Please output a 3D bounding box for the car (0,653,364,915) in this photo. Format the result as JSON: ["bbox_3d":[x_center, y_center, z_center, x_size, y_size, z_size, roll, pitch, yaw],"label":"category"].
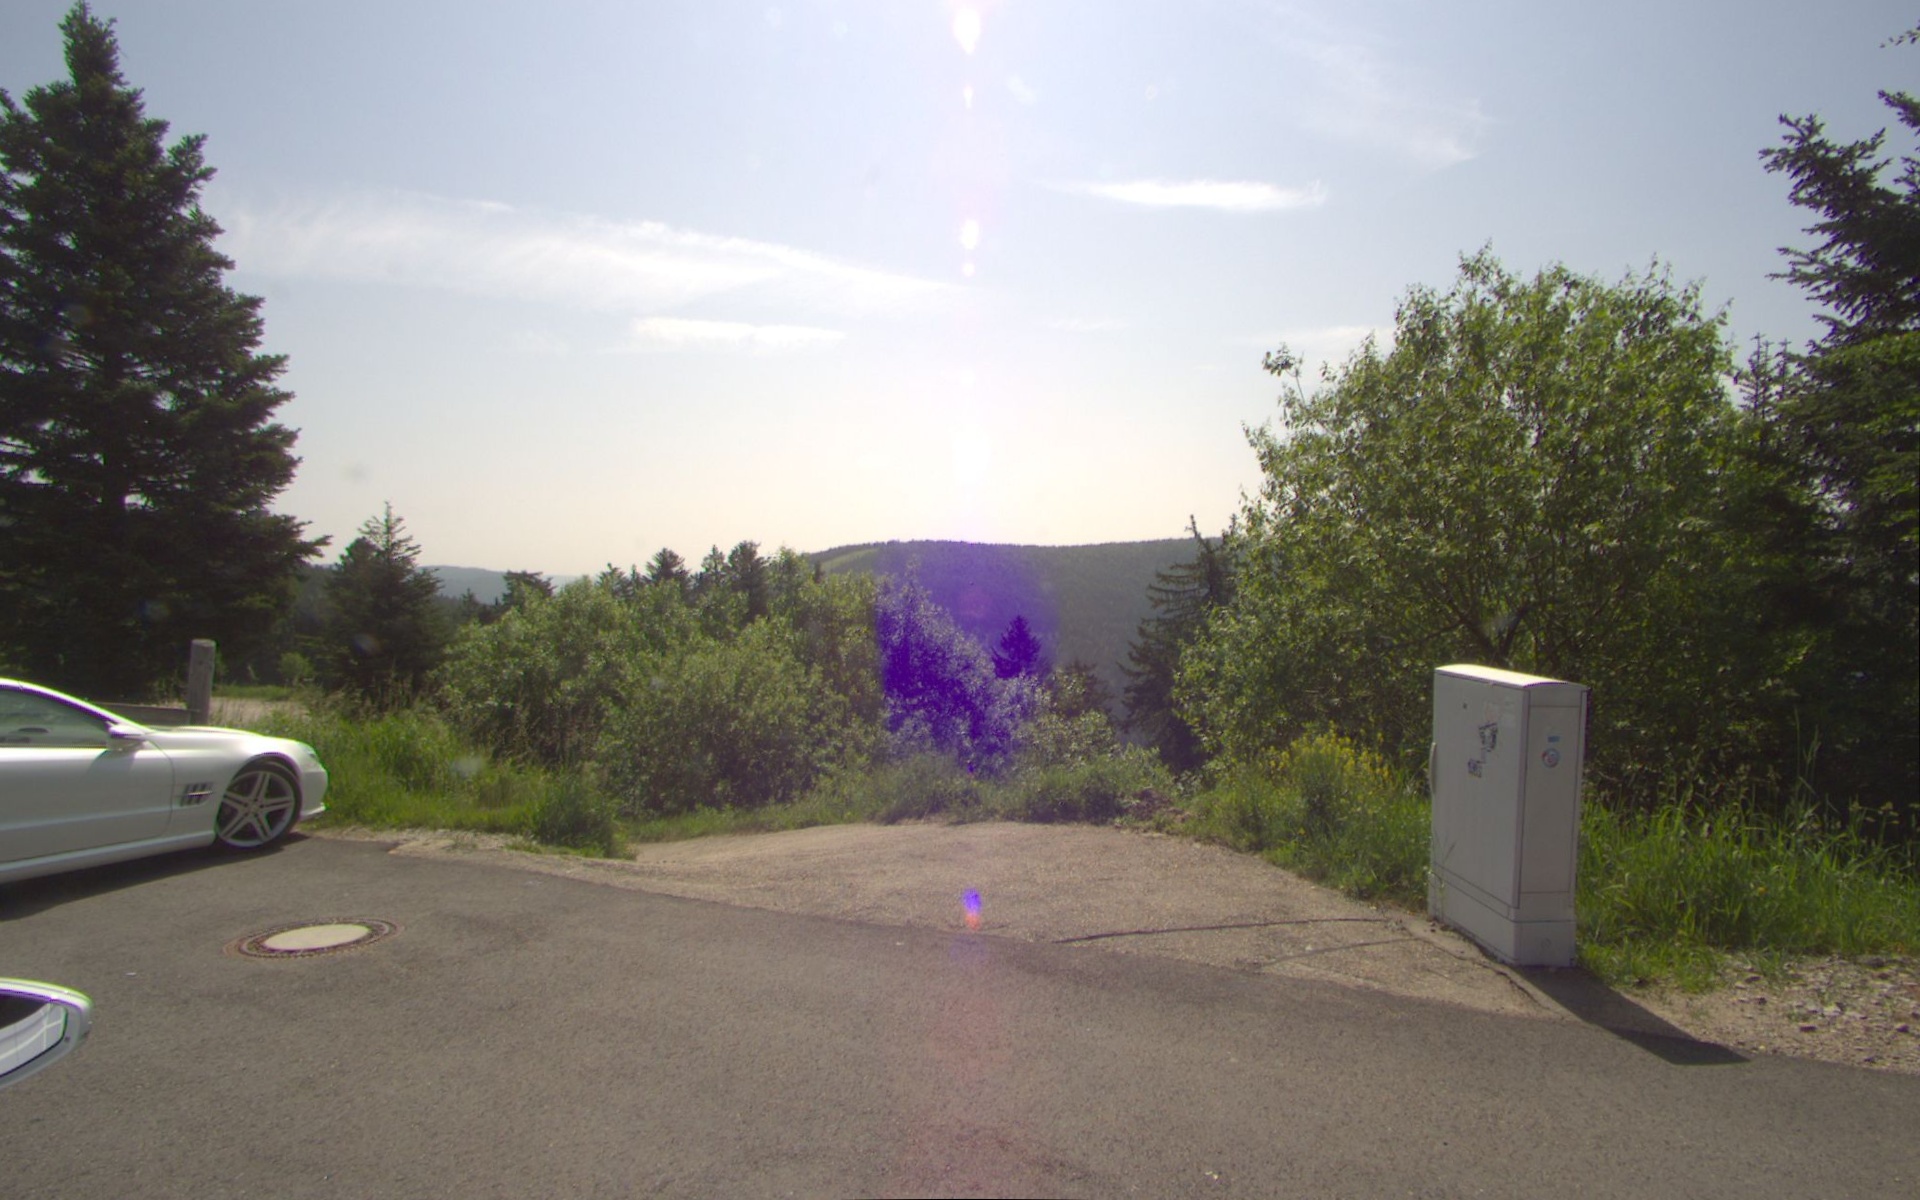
[{"bbox_3d":[-5.824,0.994,5.773,1.722,1.312,4.415,1,-3,7],"label":"car"}]
